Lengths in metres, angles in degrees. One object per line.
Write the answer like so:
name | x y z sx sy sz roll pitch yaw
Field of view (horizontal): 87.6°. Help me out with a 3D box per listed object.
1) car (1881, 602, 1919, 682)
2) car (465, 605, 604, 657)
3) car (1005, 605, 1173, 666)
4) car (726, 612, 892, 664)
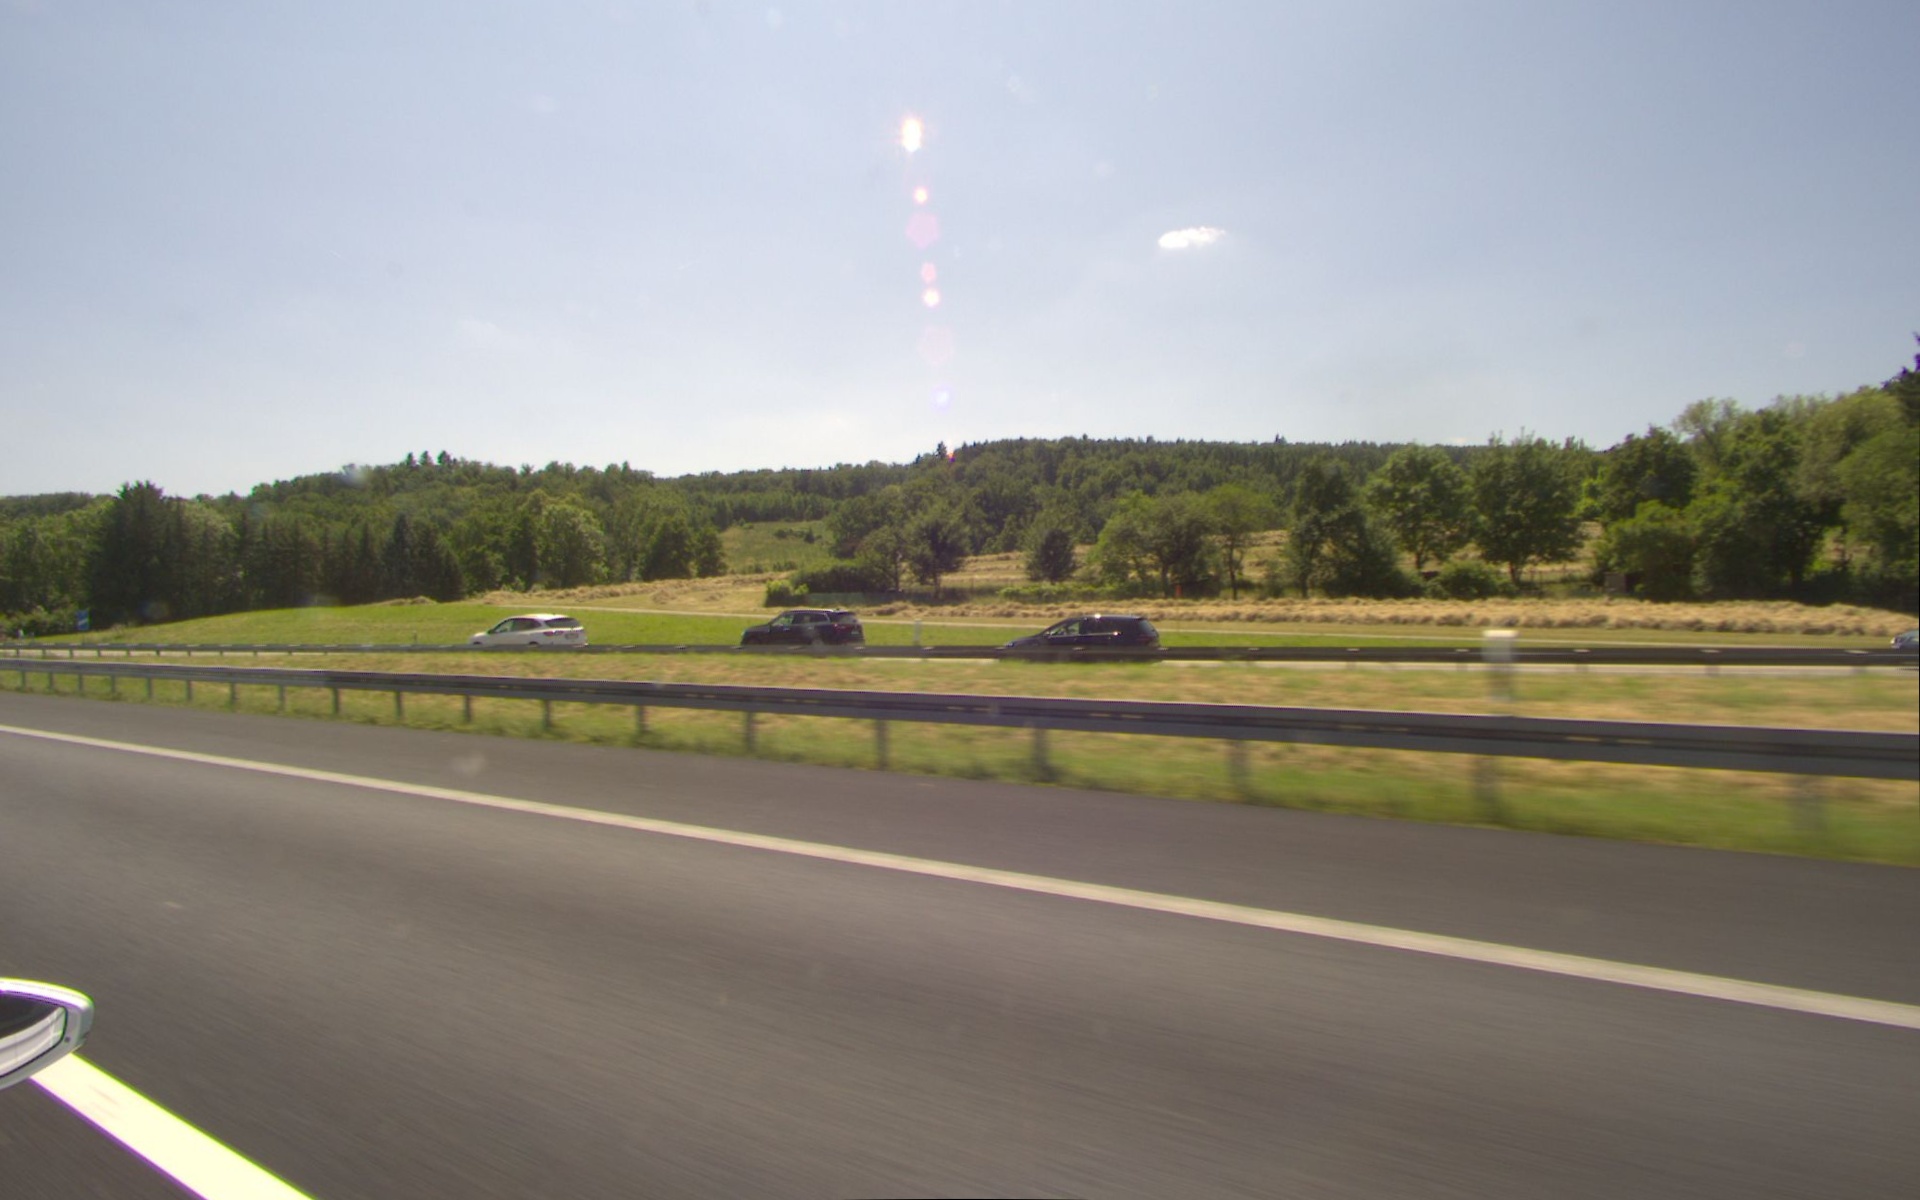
car | 22.960 0.875 20.881 5.148 1.683 1.993 -1 -2 28
car | -14.730 1.088 34.671 4.393 1.683 1.995 -1 -2 24
car | 3.302 0.909 25.589 3.902 1.453 1.795 0 -2 25
car | -5.215 1.305 34.443 5.538 1.683 1.993 -1 -2 27
